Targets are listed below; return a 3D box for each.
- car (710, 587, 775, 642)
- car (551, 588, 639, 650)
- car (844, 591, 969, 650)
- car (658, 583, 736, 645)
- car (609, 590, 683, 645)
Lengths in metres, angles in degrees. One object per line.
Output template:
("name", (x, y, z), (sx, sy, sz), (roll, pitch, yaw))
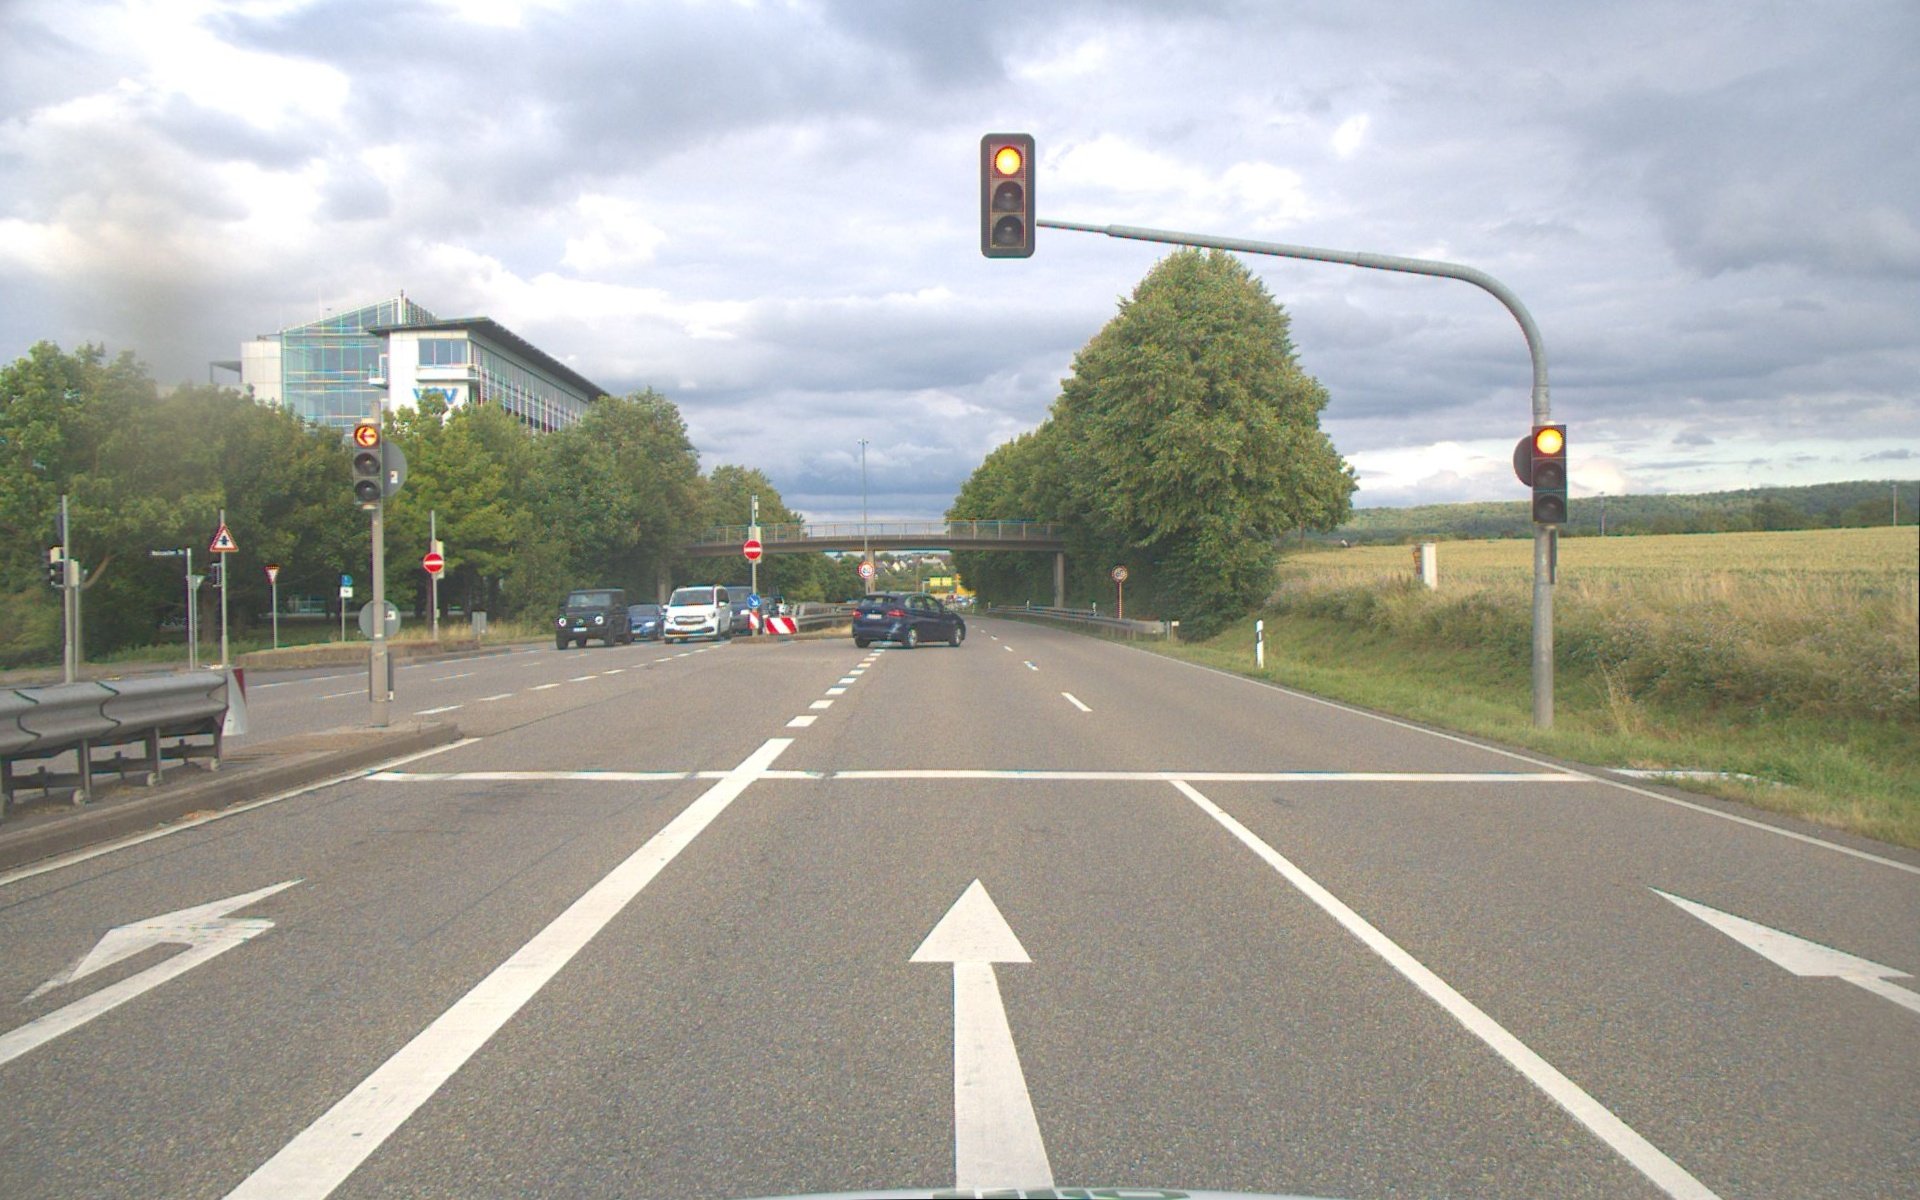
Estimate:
("car", (-8.606, 0.565, 65.831), (2.041, 2.049, 5.214), (1, 0, -2))
("car", (-12.718, 0.634, 57.927), (2.041, 2.049, 5.214), (1, 0, -2))
("car", (-1.483, 0.582, 47.142), (1.843, 1.579, 3.995), (1, 0, 27))
("car", (-9.158, 0.480, 58.088), (2.041, 2.049, 5.214), (1, 0, -2))
("car", (-12.371, 0.671, 65.432), (2.041, 2.049, 5.214), (1, 0, -2))
